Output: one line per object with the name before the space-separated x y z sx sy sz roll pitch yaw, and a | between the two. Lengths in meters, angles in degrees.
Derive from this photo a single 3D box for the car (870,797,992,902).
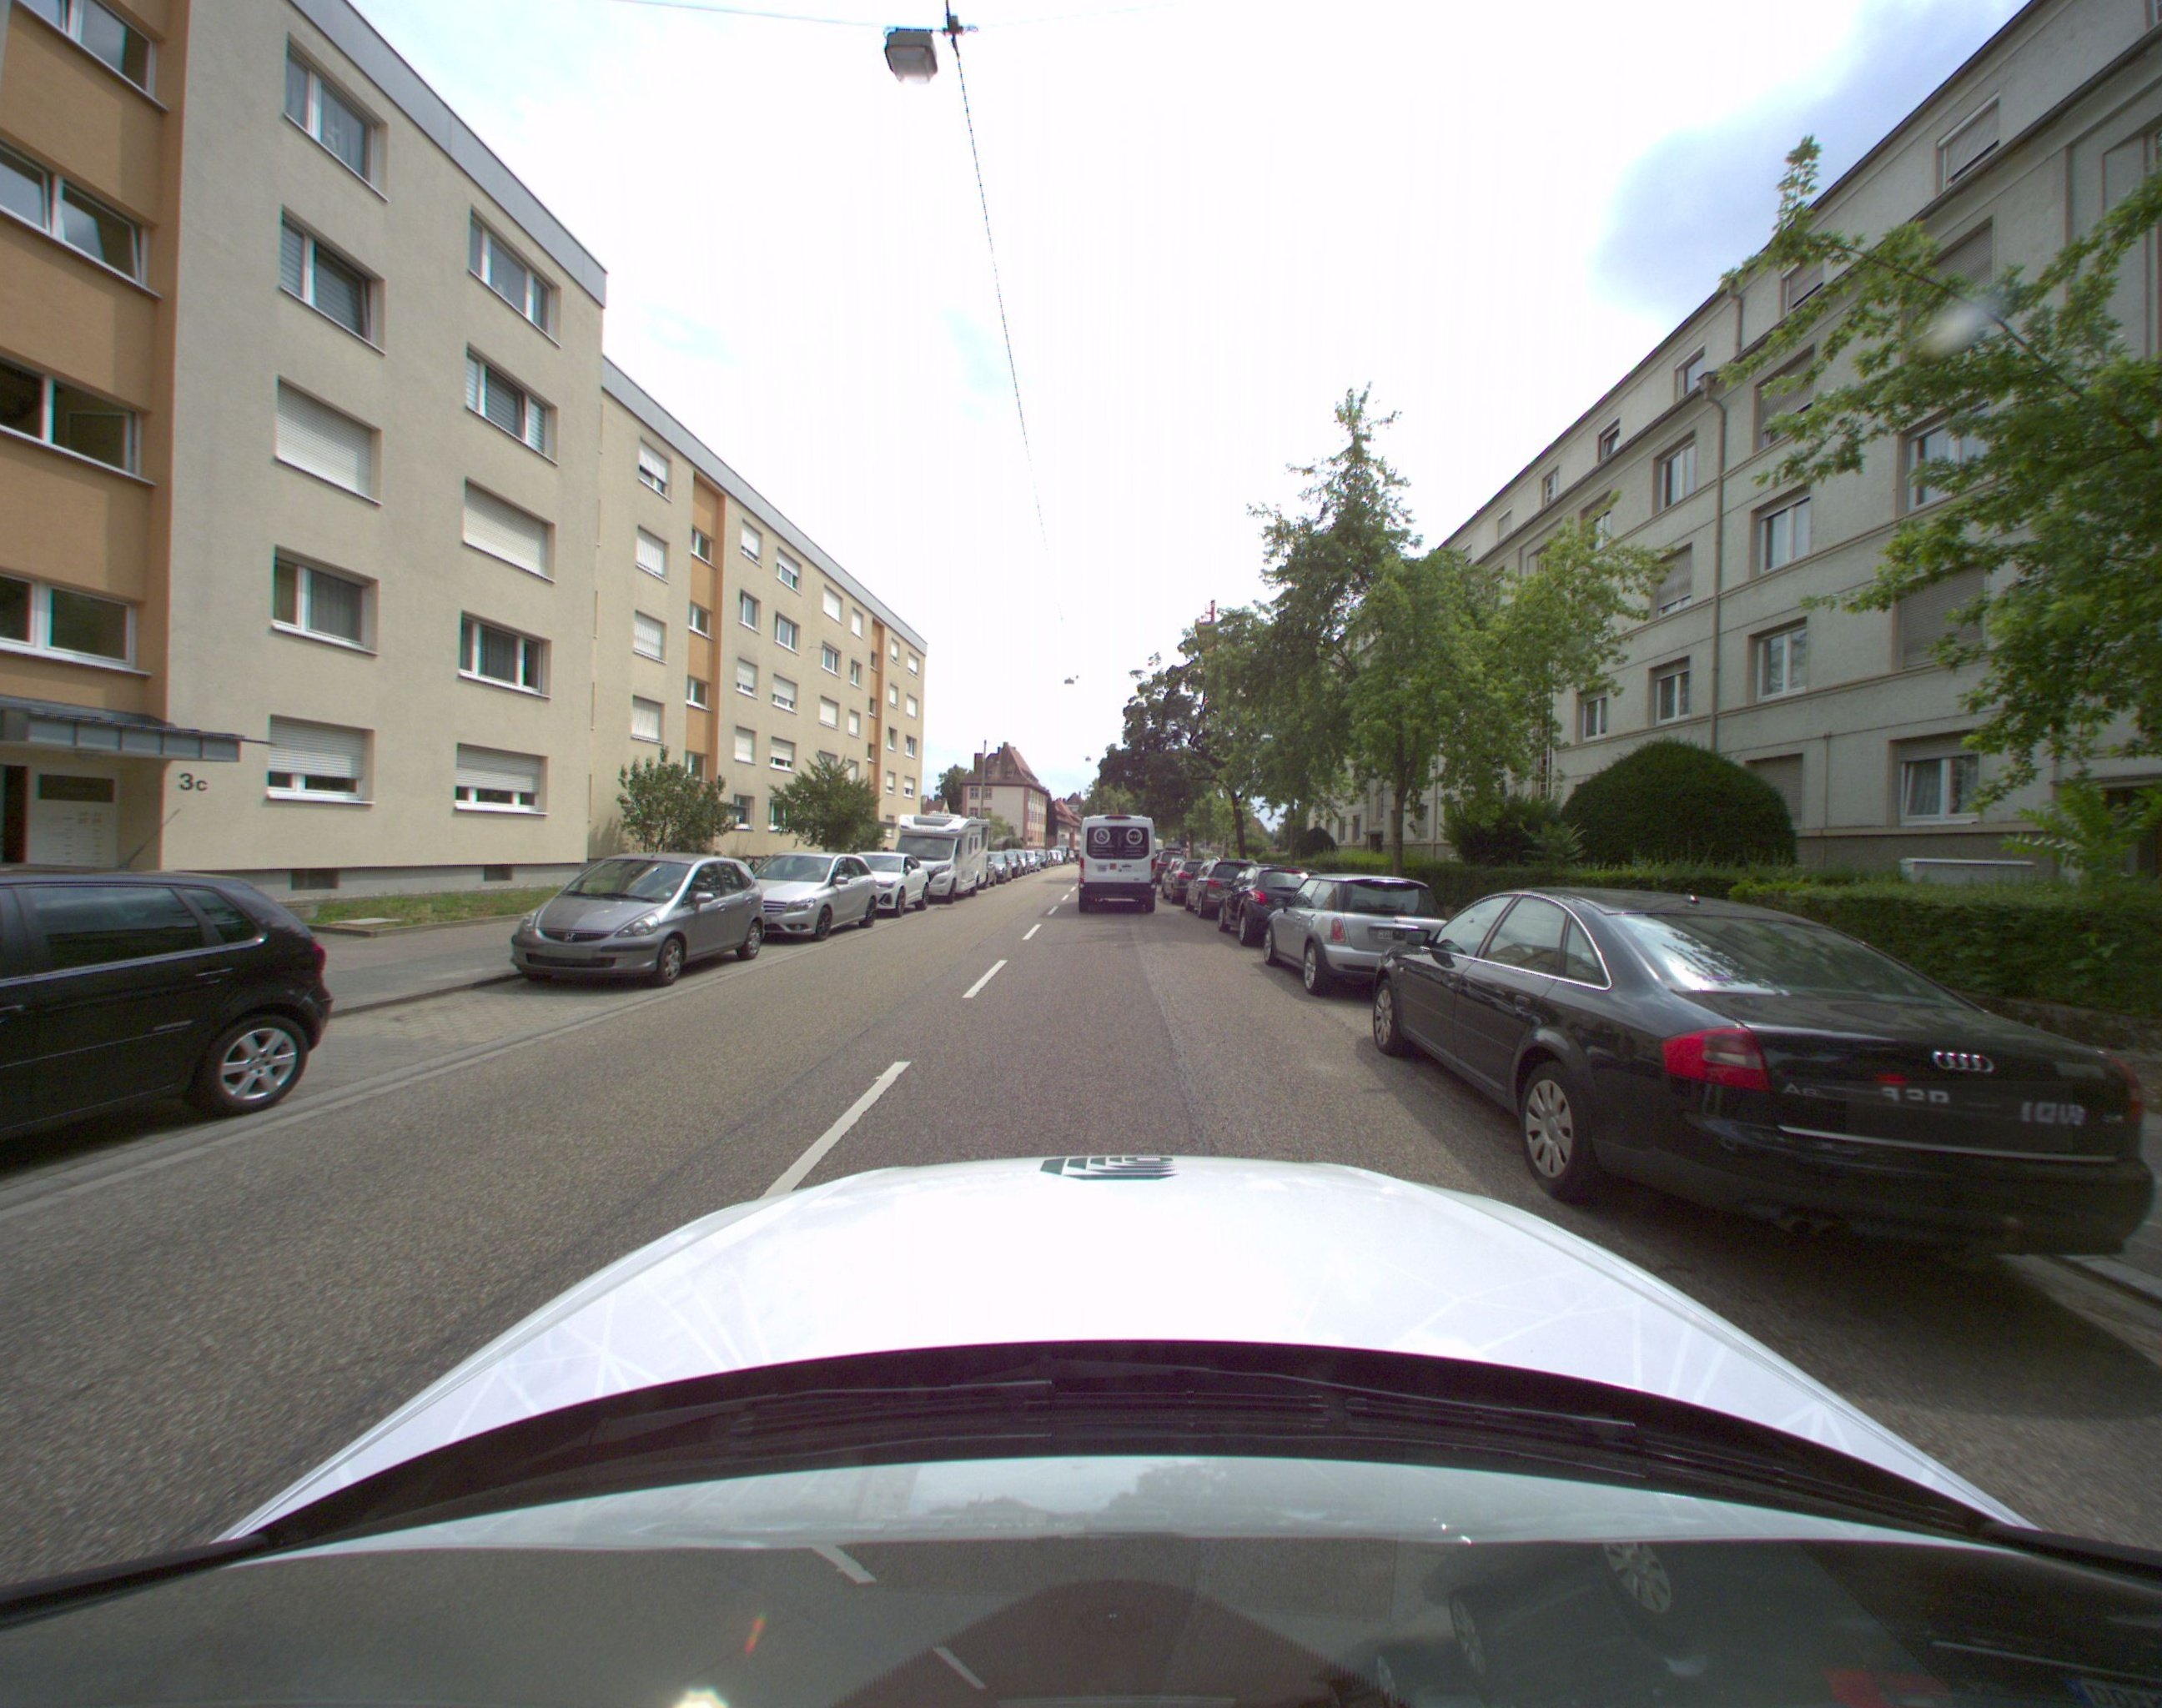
car | -4.840 -0.155 27.835 2.501 3.024 7.399 2 0 1

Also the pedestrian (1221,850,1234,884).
pedestrian | 7.949 0.688 44.233 0.525 1.828 0.519 0 0 -25

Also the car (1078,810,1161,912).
car | 0.971 0.191 22.621 2.063 2.540 4.634 0 0 0

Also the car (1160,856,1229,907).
car | 3.693 0.837 27.095 1.612 1.469 4.390 2 0 0

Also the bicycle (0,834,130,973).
bicycle | -11.098 0.500 8.168 0.459 1.393 2.133 1 1 6

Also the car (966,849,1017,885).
car | -4.348 0.590 40.467 1.880 1.579 5.218 2 0 0

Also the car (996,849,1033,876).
car | -4.169 0.527 51.794 1.879 1.579 4.154 2 0 1

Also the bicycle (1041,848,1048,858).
bicycle | -4.362 -0.128 97.217 0.539 1.175 1.351 0 0 5

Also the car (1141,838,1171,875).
car | 5.560 0.190 61.055 1.889 2.587 4.831 4 0 2

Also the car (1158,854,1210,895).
car | 4.028 0.757 32.345 1.652 1.456 4.038 2 0 2

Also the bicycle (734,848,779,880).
bicycle | -10.913 0.314 27.461 0.451 0.980 2.447 1 1 2

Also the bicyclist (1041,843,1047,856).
bicyclist | -4.387 -0.506 96.891 0.533 1.585 0.692 0 0 5

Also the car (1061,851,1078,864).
car | -1.419 0.397 101.155 1.778 1.482 3.864 2 0 3

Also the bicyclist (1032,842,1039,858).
bicyclist | -4.891 -0.406 87.097 0.534 1.653 1.049 0 0 6

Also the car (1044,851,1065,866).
car | -2.793 0.459 85.626 1.778 1.482 3.864 2 0 3

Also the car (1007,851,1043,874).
car | -3.898 0.558 57.774 1.877 1.488 4.638 2 0 4

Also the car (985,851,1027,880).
car | -4.238 0.614 46.704 1.735 1.496 4.787 2 0 1

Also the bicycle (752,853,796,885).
bicycle | -10.329 0.487 27.470 0.451 0.980 2.447 1 1 2

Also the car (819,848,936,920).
car | -5.062 0.688 20.936 1.682 1.579 4.595 2 0 1

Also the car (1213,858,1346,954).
car | 3.613 0.877 15.509 1.653 1.469 3.891 1 1 1

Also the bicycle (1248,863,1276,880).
bicycle | 10.053 0.977 45.240 1.384 0.917 0.512 1 1 -11

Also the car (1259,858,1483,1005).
car | 3.524 0.841 10.635 1.653 1.469 3.727 1 1 1

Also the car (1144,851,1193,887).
car | 4.503 0.738 42.600 1.921 1.661 5.324 4 0 0

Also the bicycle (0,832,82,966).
bicycle | -11.668 0.479 8.201 0.460 1.412 2.133 1 1 5

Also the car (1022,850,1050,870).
car | -3.709 0.473 67.571 1.778 1.543 3.864 2 0 3

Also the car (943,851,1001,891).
car | -4.577 0.672 34.716 1.682 1.496 4.595 2 0 1

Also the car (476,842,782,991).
car | -5.556 0.639 10.692 1.717 1.539 4.005 1 1 1

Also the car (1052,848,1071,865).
car | -2.164 0.296 90.876 1.778 1.827 3.977 2 0 3

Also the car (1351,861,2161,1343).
car | 3.151 0.836 5.007 1.771 1.469 4.621 2 0 5

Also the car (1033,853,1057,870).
car | -3.228 0.648 73.906 1.778 1.462 3.864 2 0 3

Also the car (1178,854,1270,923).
car | 3.736 0.846 22.006 1.654 1.582 4.285 4 0 0

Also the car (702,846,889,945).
car | -5.272 0.682 15.784 1.748 1.579 4.571 2 0 3

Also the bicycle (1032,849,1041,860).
bicycle | -4.811 0.014 87.822 0.538 1.175 2.095 0 0 7

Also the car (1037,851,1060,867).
car | -3.113 0.441 78.801 1.778 1.462 3.864 2 0 3

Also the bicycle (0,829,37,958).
bicycle | -12.232 0.445 8.241 0.460 1.425 2.133 1 1 5

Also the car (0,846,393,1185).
car | -5.823 0.733 3.613 1.810 1.483 4.120 2 0 4
